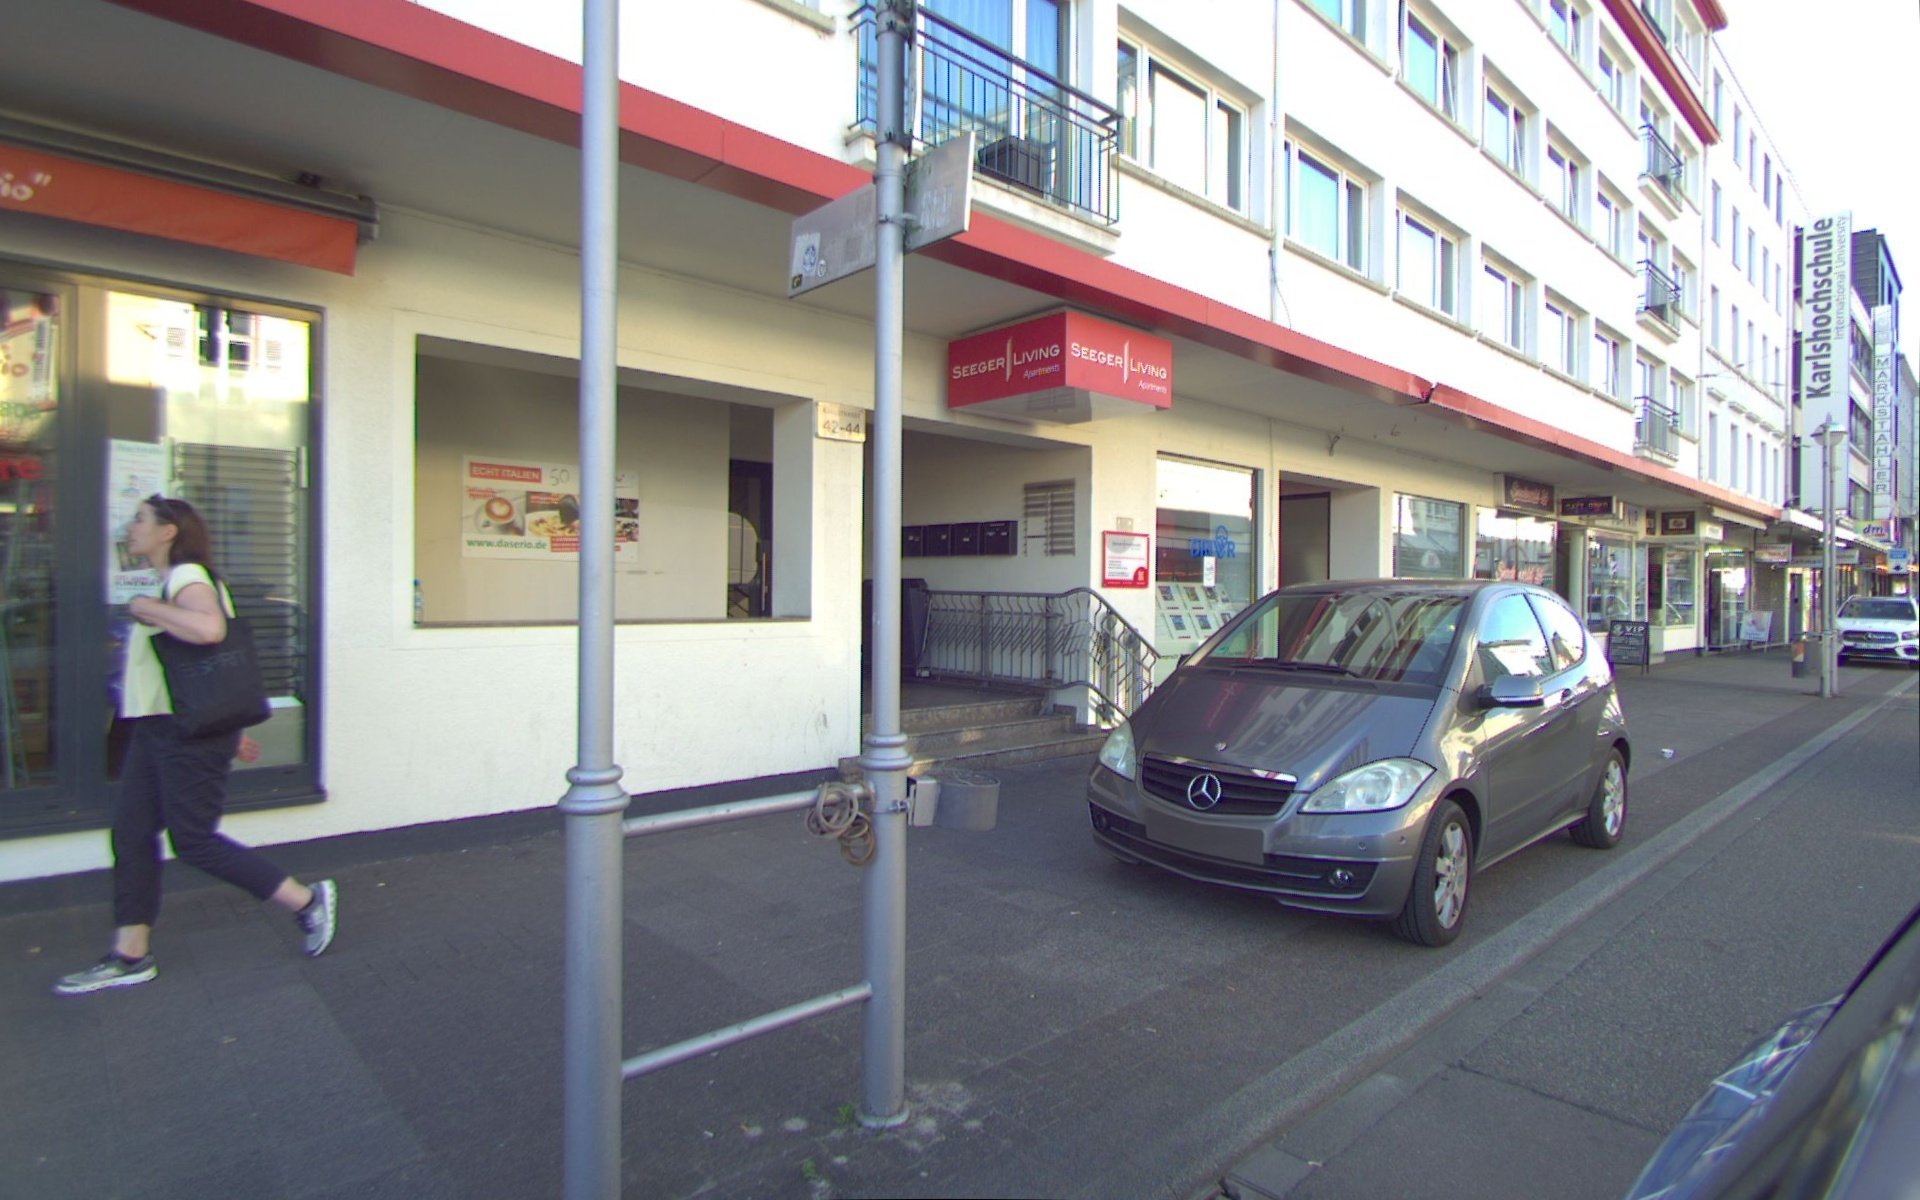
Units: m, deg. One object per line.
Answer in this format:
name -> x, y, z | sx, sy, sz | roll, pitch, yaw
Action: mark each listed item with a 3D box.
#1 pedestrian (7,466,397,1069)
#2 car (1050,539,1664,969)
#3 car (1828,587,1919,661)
pedestrian -> -2.742, 0.486, 3.669 | 1.021, 1.774, 0.915 | 0, 0, -44
car -> 2.439, 0.564, 5.663 | 3.932, 1.565, 1.681 | 0, 0, -43
car -> 22.365, 0.529, 24.319 | 1.994, 1.650, 3.935 | 1, 1, 45
